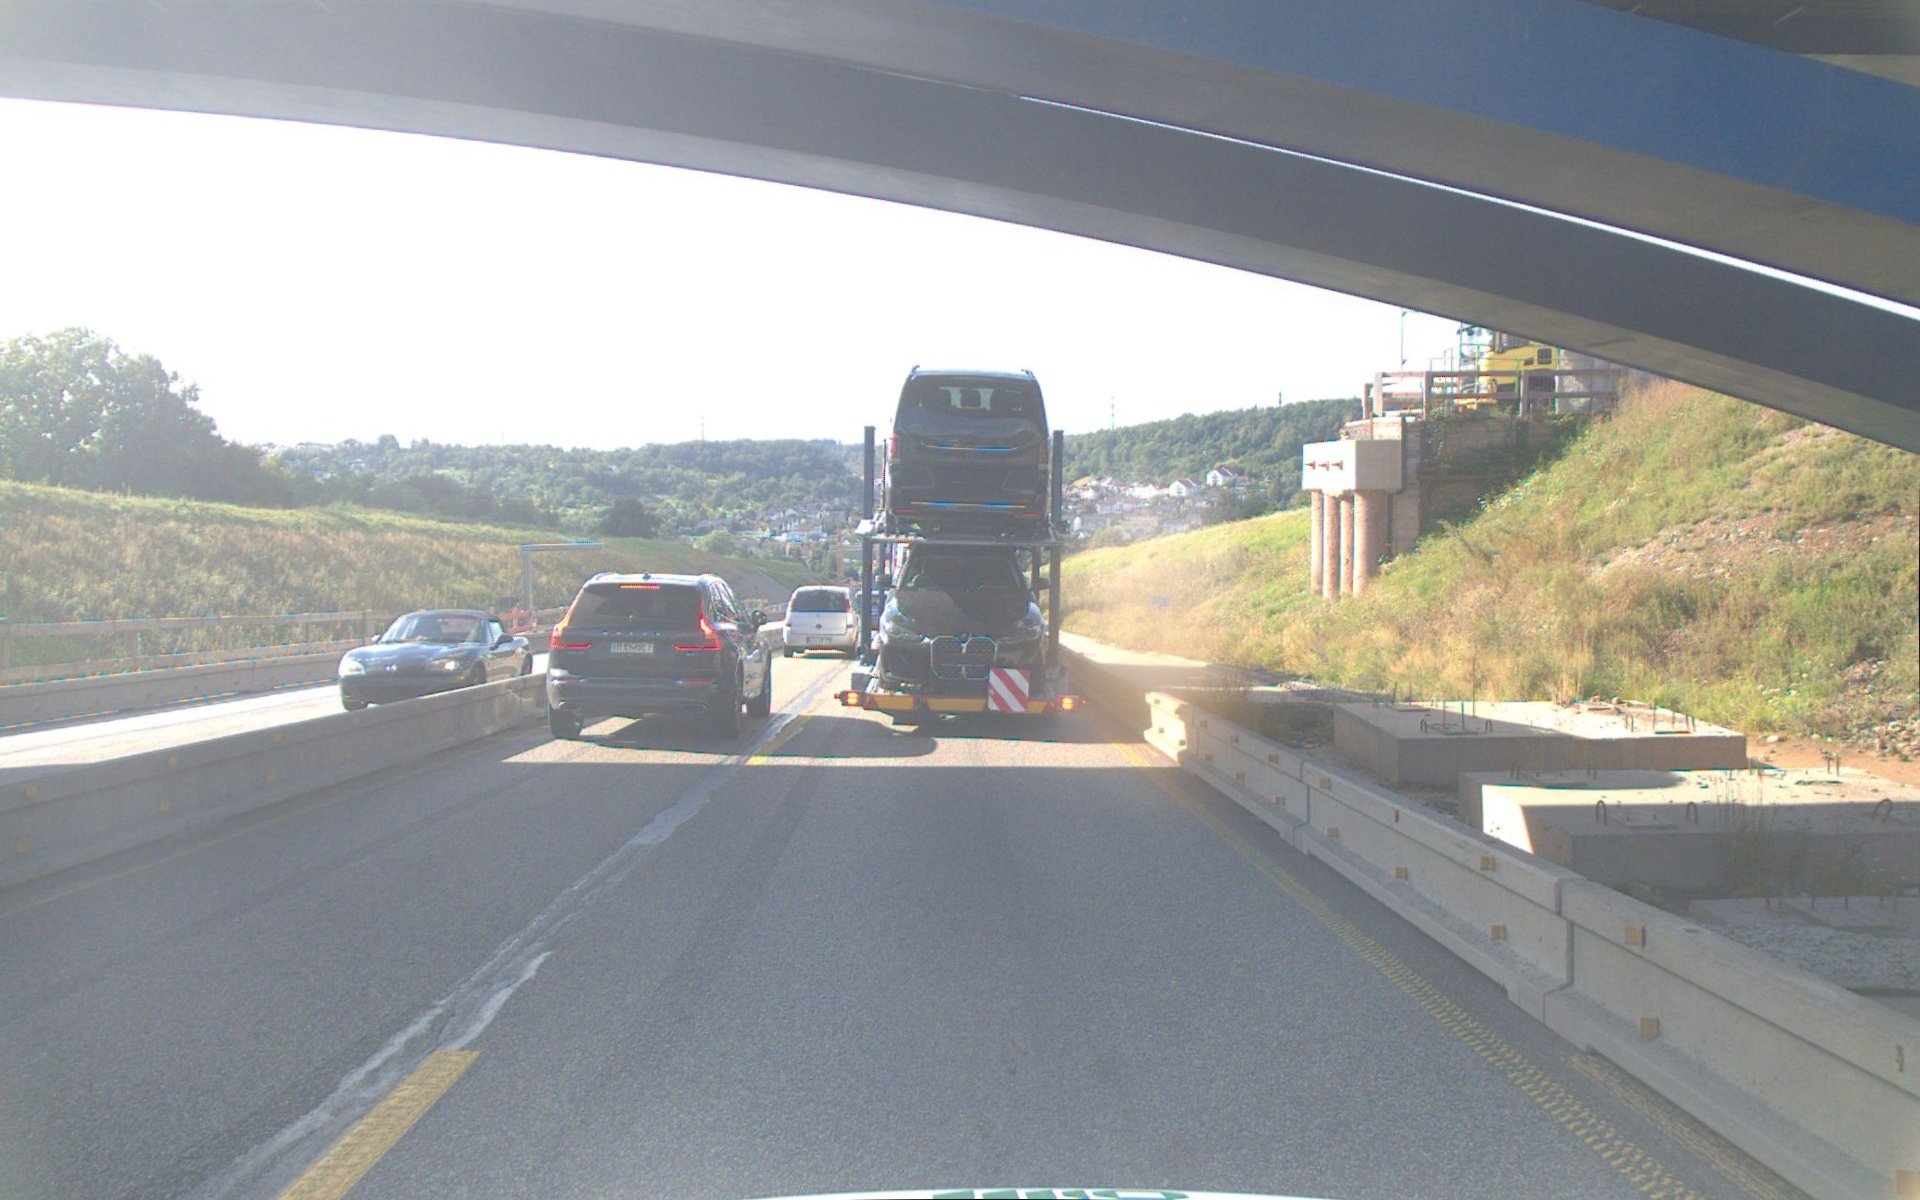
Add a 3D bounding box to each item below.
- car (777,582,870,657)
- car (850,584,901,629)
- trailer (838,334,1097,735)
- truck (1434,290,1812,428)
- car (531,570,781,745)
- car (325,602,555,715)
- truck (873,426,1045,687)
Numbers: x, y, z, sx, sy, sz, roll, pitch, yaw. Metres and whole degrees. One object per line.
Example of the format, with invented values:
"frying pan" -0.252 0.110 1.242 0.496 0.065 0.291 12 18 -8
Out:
"car" -3.126 0.410 38.632 1.759 1.624 4.743 0 0 0
"car" -2.991 0.213 59.283 1.760 1.557 4.294 0 1 -2
"trailer" 0.042 -0.691 22.614 2.653 4.099 11.418 0 0 0
"truck" 17.722 -6.436 44.612 9.076 3.284 2.959 0 0 -2
"car" -3.127 0.525 18.017 1.953 1.653 4.749 0 0 -2
"car" -6.539 0.678 21.272 1.635 1.175 4.217 -3 1 -1
"truck" 0.004 -0.680 28.296 2.623 3.990 6.027 0 0 0
